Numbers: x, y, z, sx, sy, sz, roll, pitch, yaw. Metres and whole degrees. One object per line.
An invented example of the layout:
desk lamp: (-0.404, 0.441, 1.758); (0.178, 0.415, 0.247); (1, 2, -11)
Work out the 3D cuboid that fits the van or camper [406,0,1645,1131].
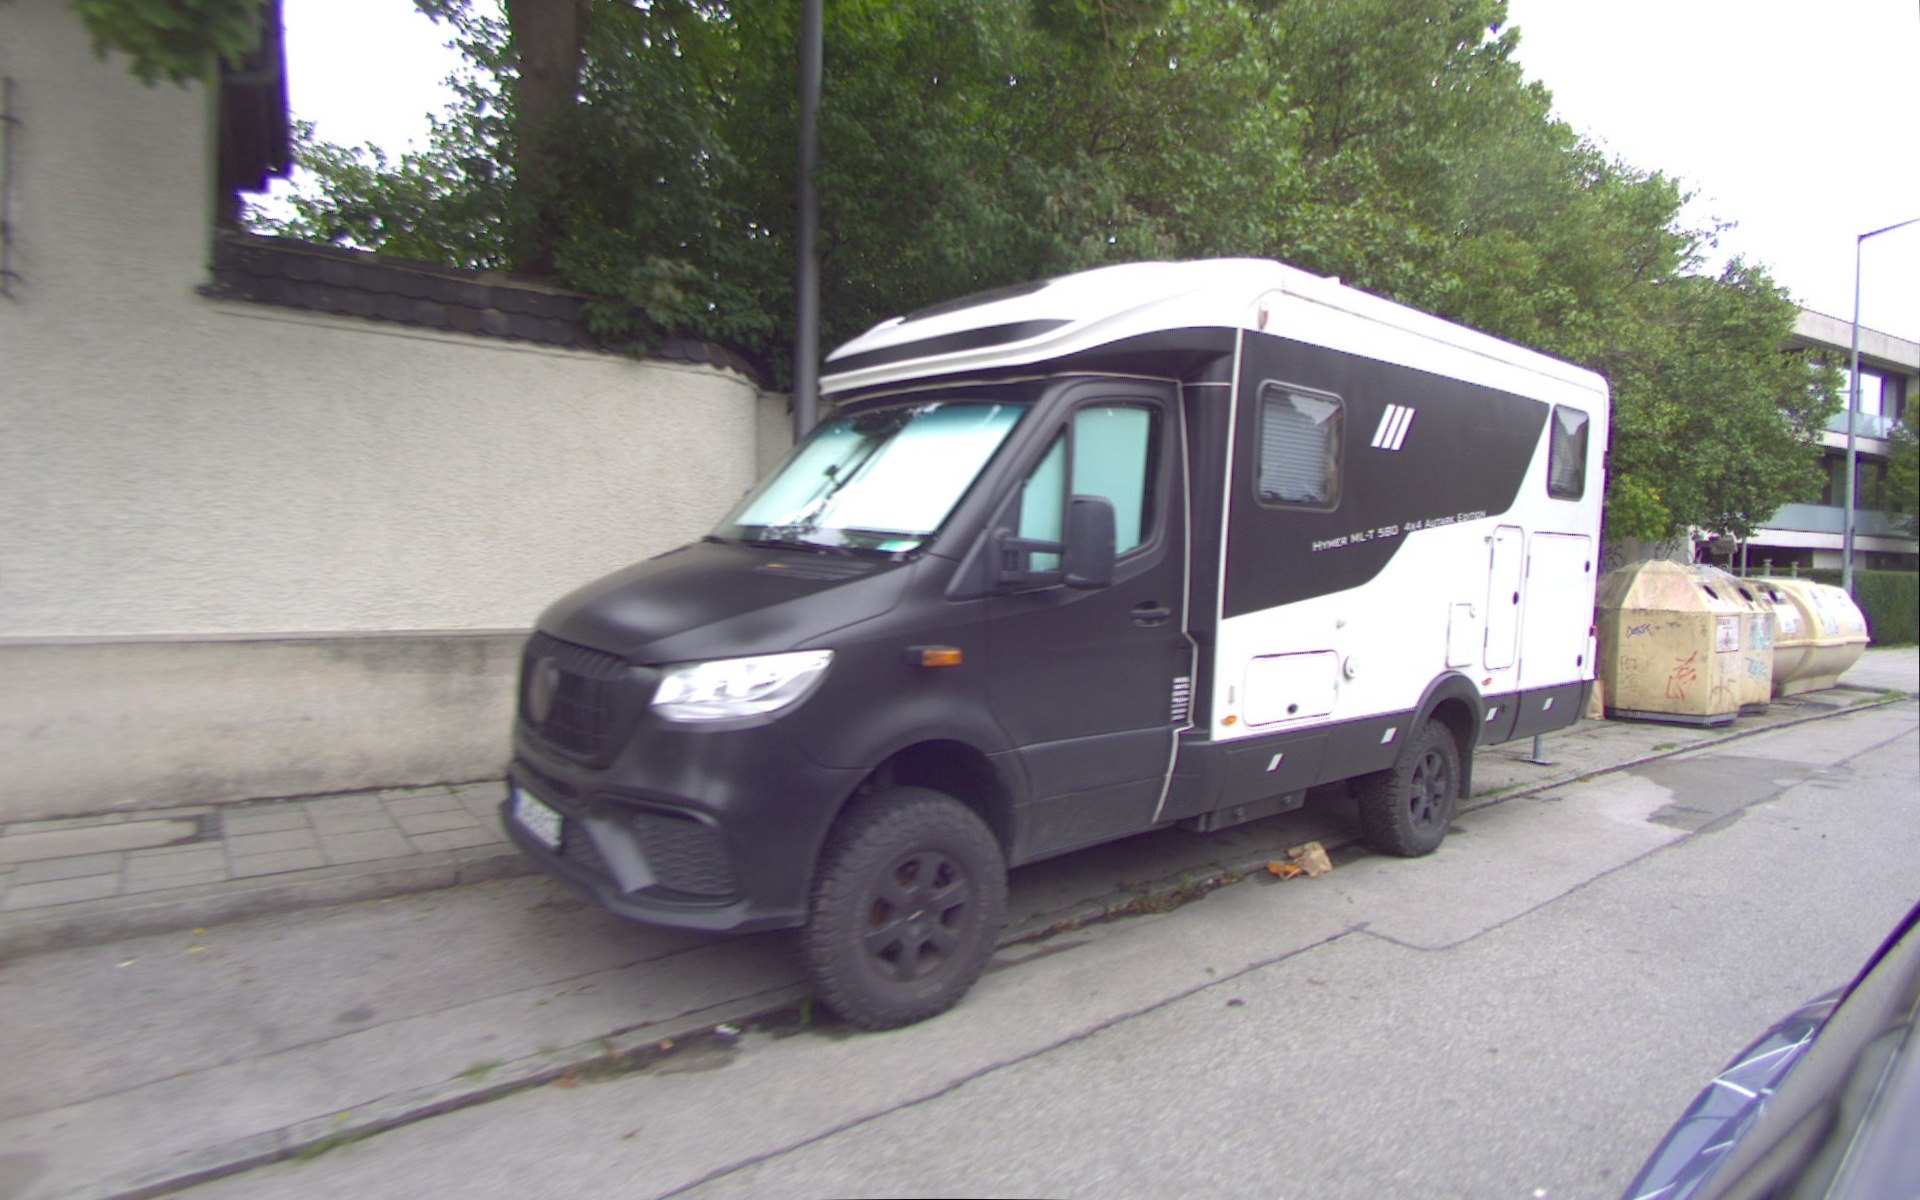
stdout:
van or camper: (1.200, -0.264, 5.549); (7.146, 2.942, 2.278); (0, 2, -40)
